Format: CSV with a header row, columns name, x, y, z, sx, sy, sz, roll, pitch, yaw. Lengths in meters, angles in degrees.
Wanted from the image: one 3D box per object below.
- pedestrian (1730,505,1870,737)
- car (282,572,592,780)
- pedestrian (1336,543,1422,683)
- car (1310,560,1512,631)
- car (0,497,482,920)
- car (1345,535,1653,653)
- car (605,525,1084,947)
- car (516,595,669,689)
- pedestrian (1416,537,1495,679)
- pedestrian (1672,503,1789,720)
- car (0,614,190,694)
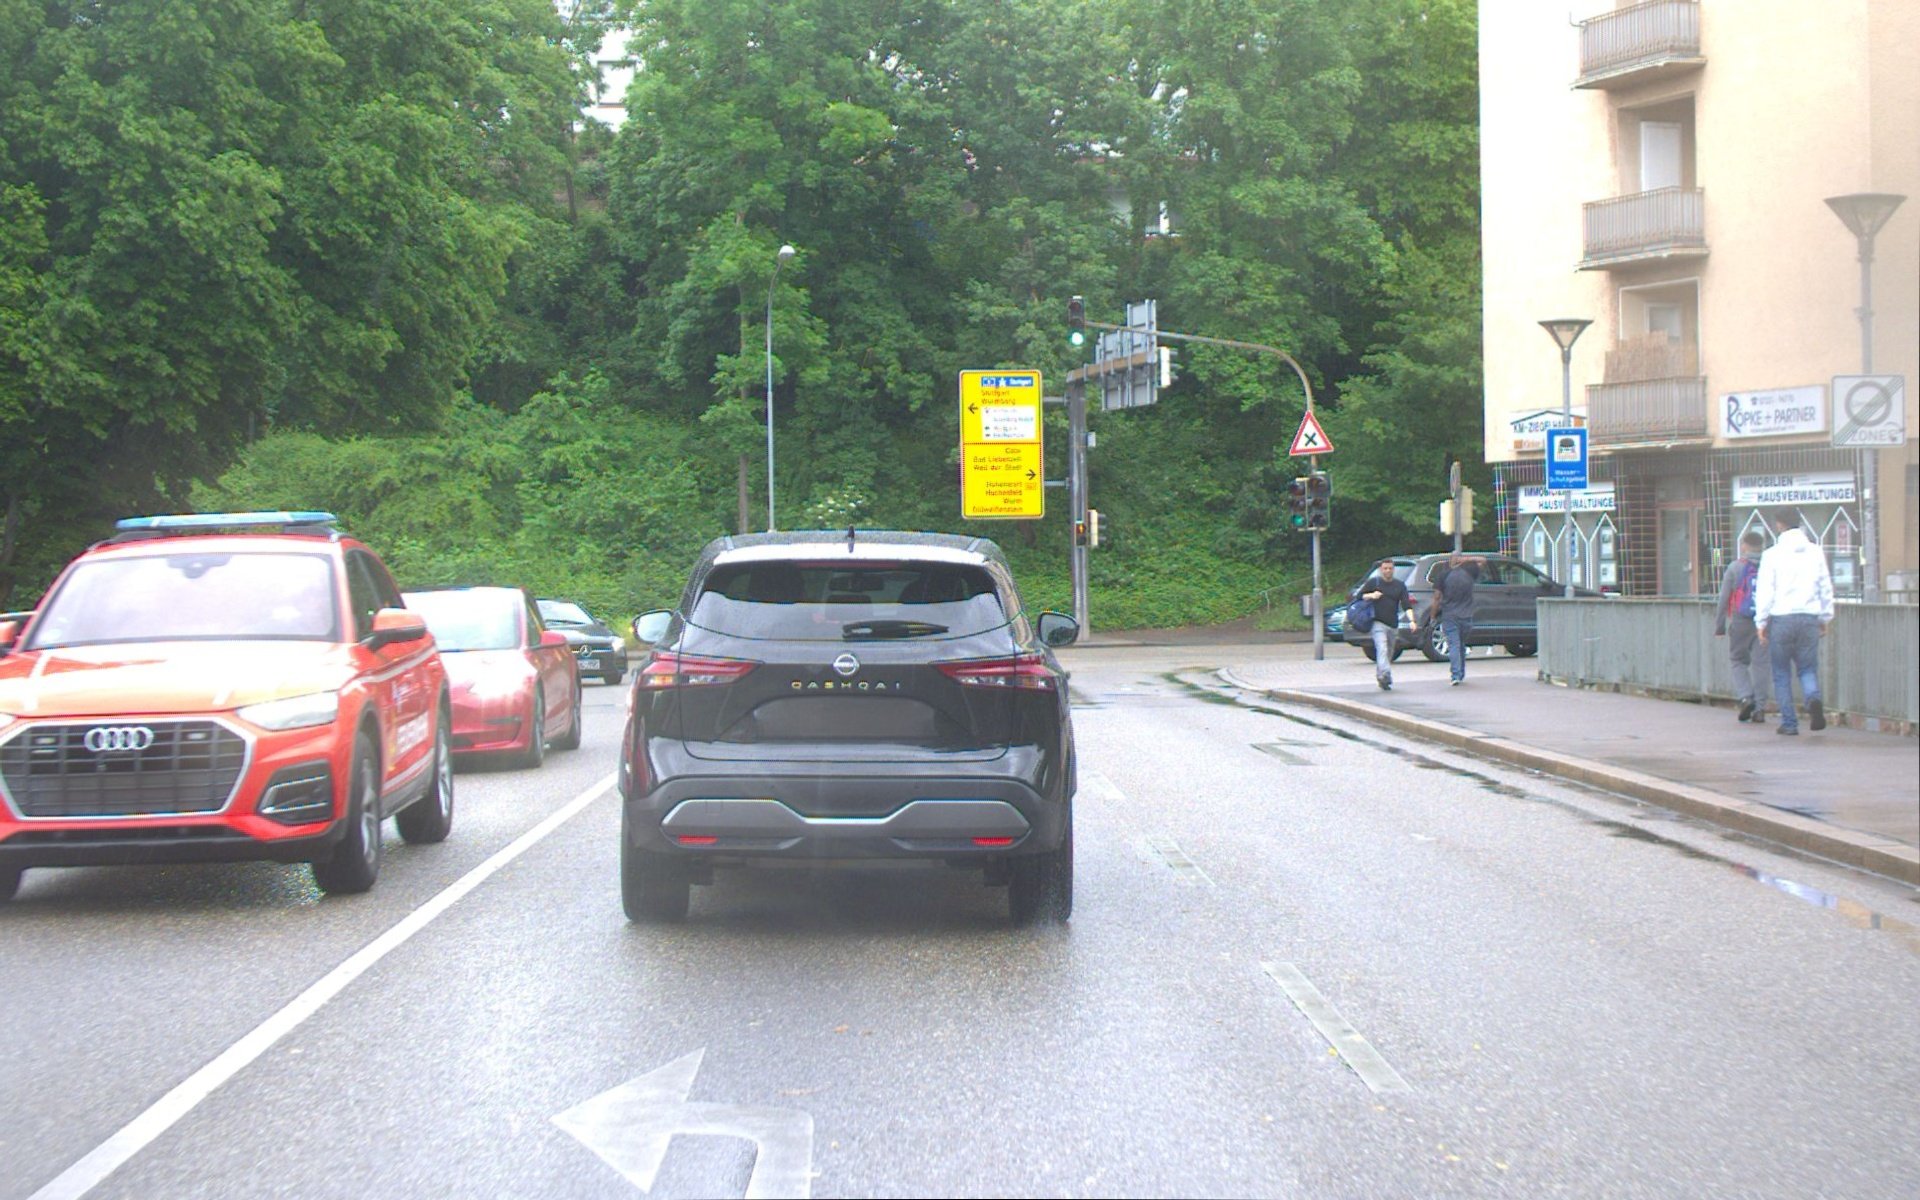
name,x,y,z,sx,sy,sz,roll,pitch,yaw
pedestrian,6.501,0.156,26.659,0.779,1.746,1.061,-1,0,-1
car,-3.996,0.530,26.910,1.781,1.397,4.219,-2,1,-1
pedestrian,4.966,0.148,40.813,0.862,1.613,0.839,-2,0,-1
car,10.704,-0.113,81.693,4.323,1.497,1.884,-2,0,-12
car,-3.562,0.430,16.596,1.888,1.729,4.371,-2,1,-1
car,8.356,-0.101,53.267,4.366,1.643,1.884,-2,0,-26
car,-0.472,0.501,15.060,1.811,1.597,4.000,0,0,-1
car,-6.028,0.662,55.966,1.709,1.411,4.095,-2,1,-17
pedestrian,5.983,0.089,41.559,0.761,1.671,0.781,-3,1,-1
pedestrian,6.540,0.091,29.211,0.761,1.802,0.781,-2,1,-1
car,-16.528,1.010,64.862,3.673,1.415,1.632,-1,0,-5
